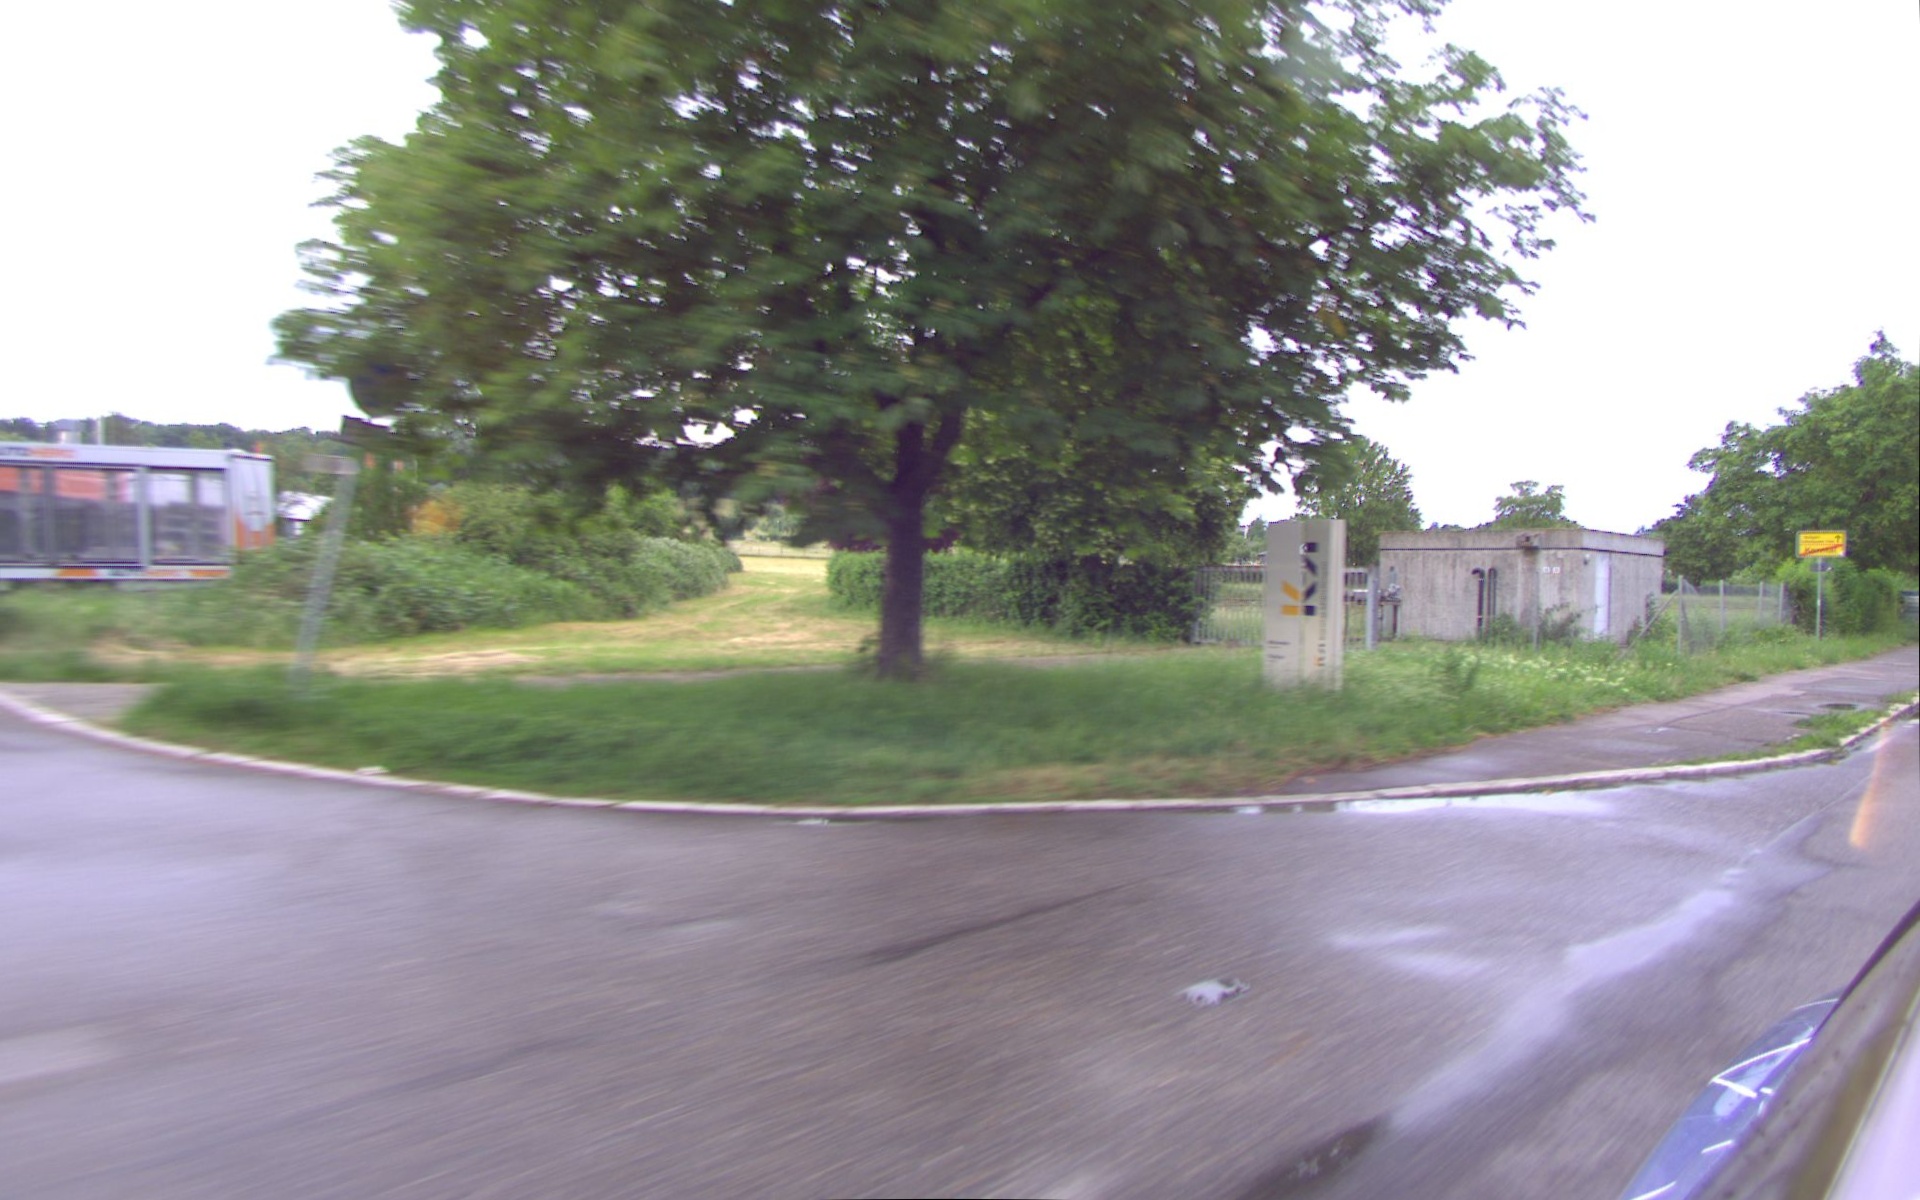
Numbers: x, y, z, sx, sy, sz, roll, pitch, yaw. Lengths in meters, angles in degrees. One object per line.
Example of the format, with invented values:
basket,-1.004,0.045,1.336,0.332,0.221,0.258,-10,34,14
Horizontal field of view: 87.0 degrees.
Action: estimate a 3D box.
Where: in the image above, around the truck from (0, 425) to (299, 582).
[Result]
truck,-17.338,-1.674,18.544,8.296,2.656,2.795,0,0,-17
